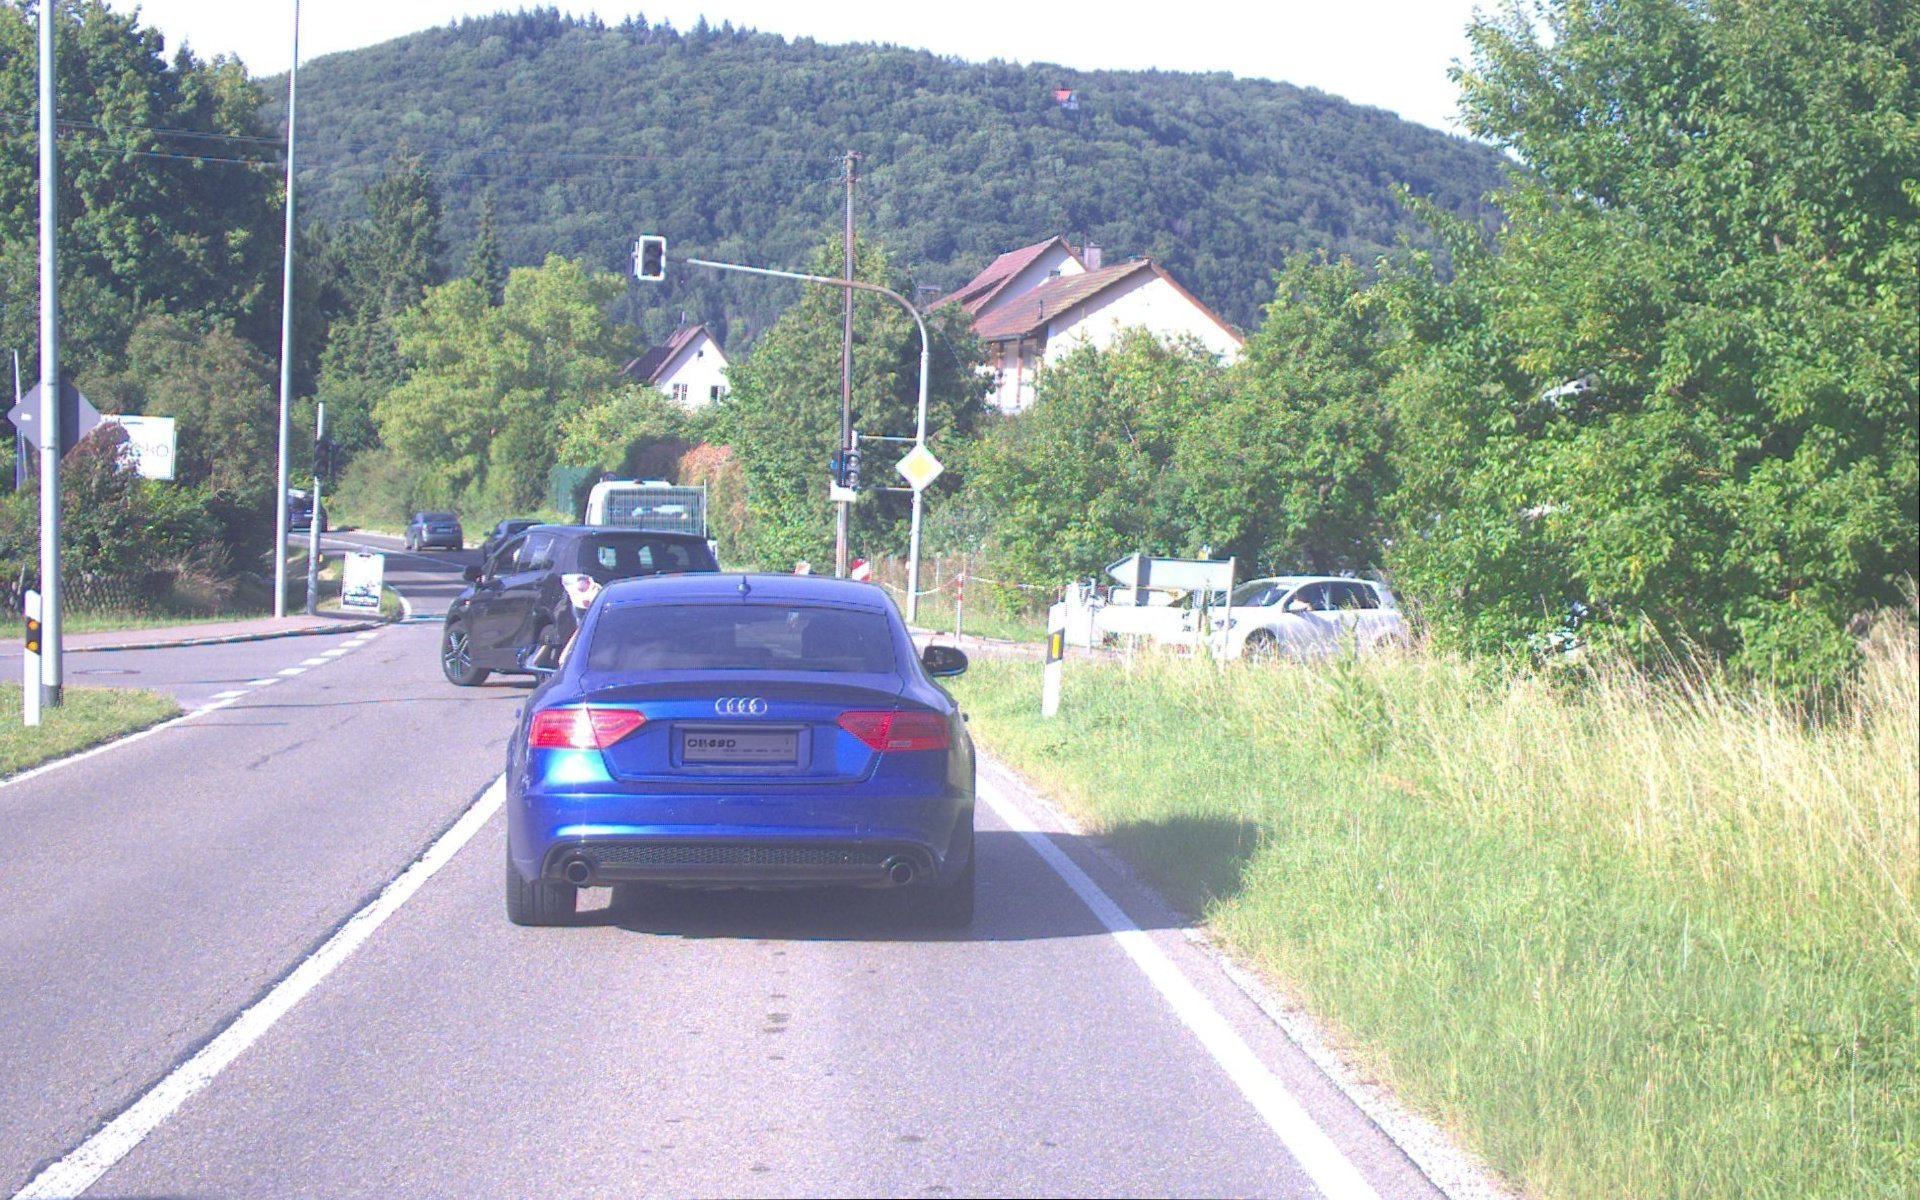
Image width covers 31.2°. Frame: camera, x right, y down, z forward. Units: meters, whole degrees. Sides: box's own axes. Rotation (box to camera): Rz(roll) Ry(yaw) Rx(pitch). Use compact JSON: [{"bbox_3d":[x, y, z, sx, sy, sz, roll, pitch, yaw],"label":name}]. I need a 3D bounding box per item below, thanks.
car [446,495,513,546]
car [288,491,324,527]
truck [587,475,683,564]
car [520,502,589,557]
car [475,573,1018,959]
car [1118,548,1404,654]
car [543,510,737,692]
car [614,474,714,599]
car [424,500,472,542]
[{"bbox_3d":[-14.914,-2.449,106.624,1.697,1.485,3.528,1,0,-14],"label":"car"},{"bbox_3d":[-30.353,-4.222,159.558,1.625,1.571,3.680,1,0,-11],"label":"car"},{"bbox_3d":[-7.565,-1.830,79.605,1.697,1.947,5.924,1,0,-10],"label":"truck"},{"bbox_3d":[-11.410,-1.963,96.481,1.697,1.485,3.528,1,0,-10],"label":"car"},{"bbox_3d":[-0.741,0.589,14.427,1.795,1.383,3.999,0,0,3],"label":"car"},{"bbox_3d":[4.470,0.022,50.838,4.045,1.503,1.854,1,0,-39],"label":"car"},{"bbox_3d":[-3.158,-0.002,33.532,1.746,1.634,4.001,1,0,-6],"label":"car"},{"bbox_3d":[-5.459,-1.146,63.470,1.746,2.188,4.001,1,0,-5],"label":"car"},{"bbox_3d":[-18.917,-2.913,127.129,1.697,1.485,3.528,1,0,-8],"label":"car"}]
